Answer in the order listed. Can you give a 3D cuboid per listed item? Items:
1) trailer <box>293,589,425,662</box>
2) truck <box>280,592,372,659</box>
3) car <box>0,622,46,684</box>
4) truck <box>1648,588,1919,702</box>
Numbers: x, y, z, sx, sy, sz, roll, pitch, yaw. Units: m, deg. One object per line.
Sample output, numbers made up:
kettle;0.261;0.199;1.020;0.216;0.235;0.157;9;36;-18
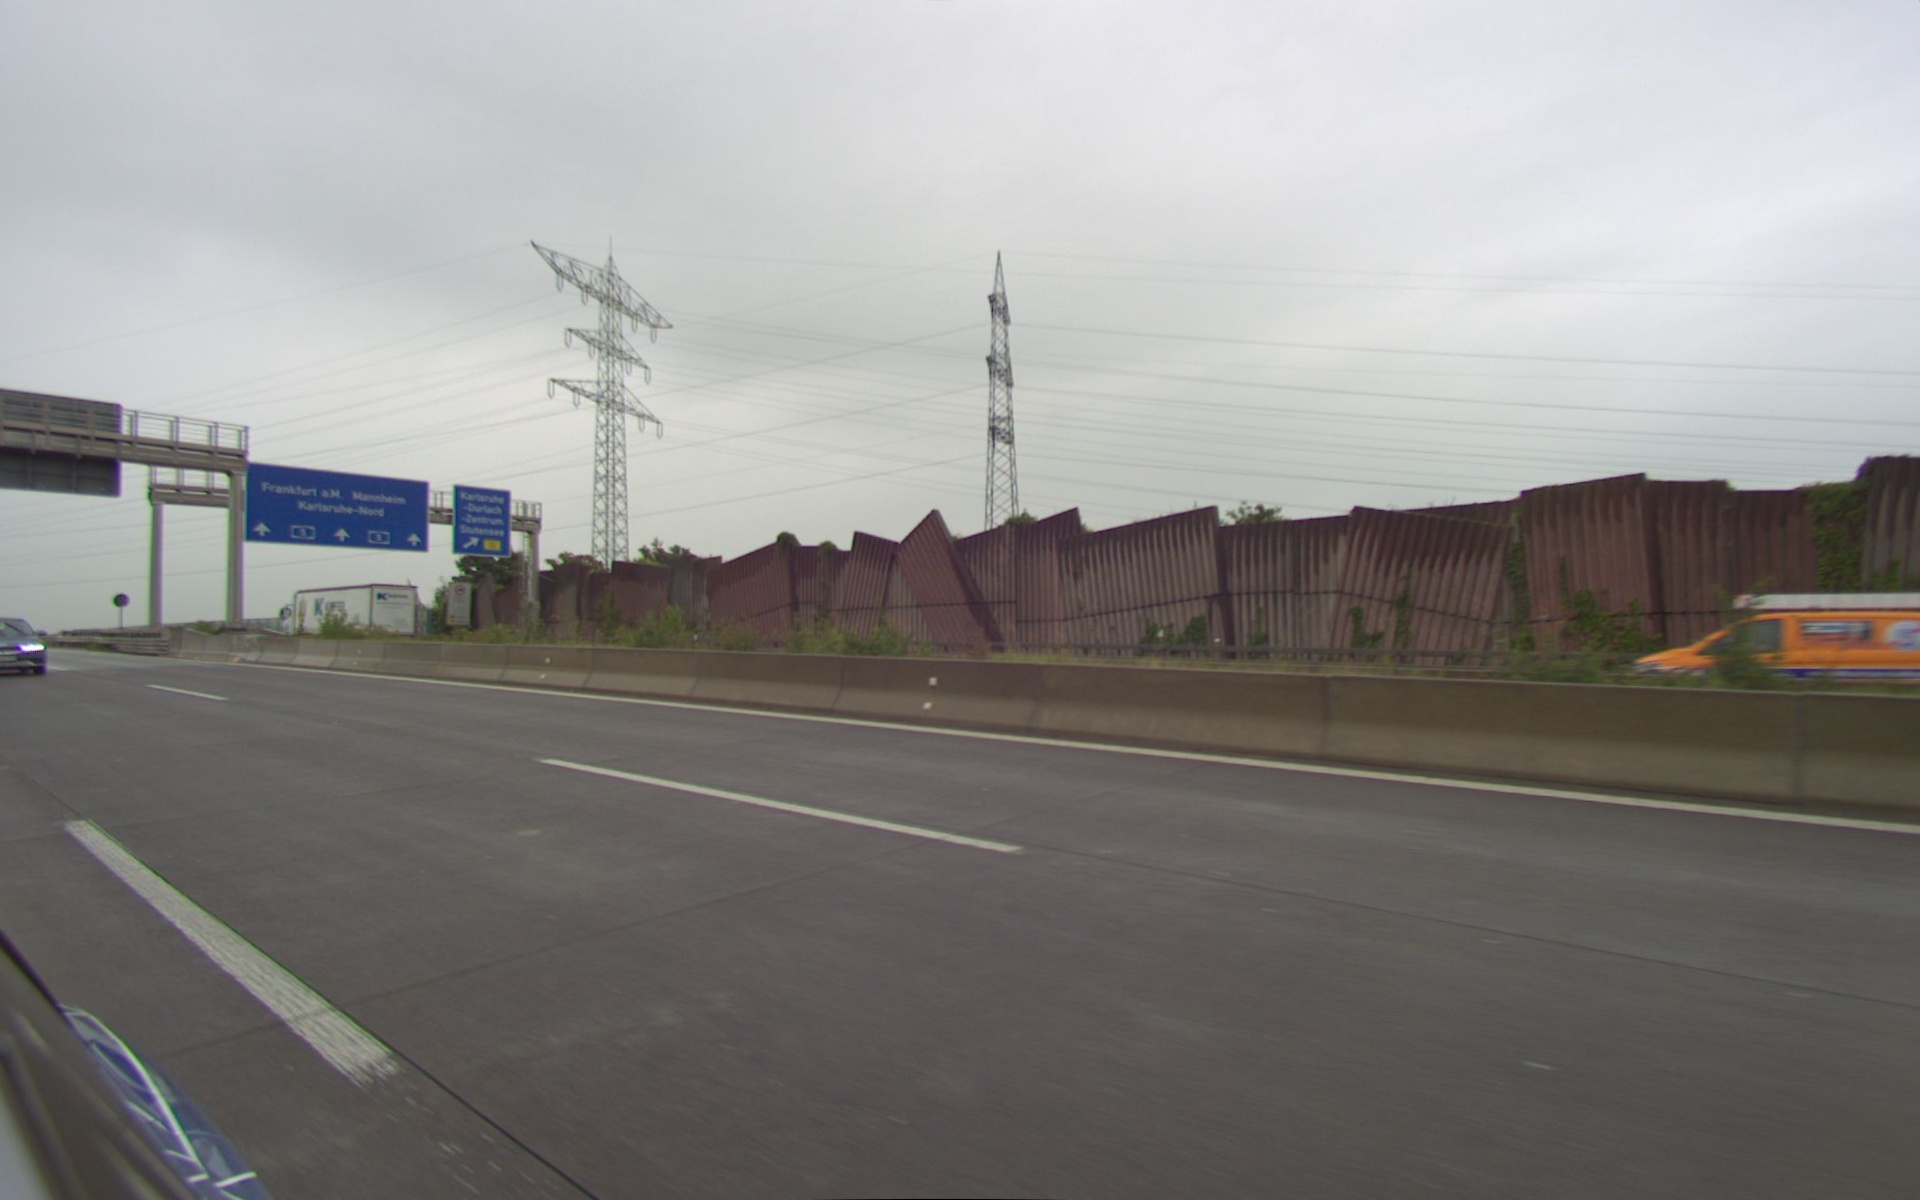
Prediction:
trailer;-38.248;1.587;64.053;13.562;4.218;3.025;-2;-1;41
truck;-42.601;1.714;67.877;7.883;4.218;3.025;-2;-1;41
car;-27.027;1.430;28.107;5.152;1.606;1.820;-1;-1;41
truck;14.691;0.712;16.945;5.015;1.753;1.972;-1;-1;42
